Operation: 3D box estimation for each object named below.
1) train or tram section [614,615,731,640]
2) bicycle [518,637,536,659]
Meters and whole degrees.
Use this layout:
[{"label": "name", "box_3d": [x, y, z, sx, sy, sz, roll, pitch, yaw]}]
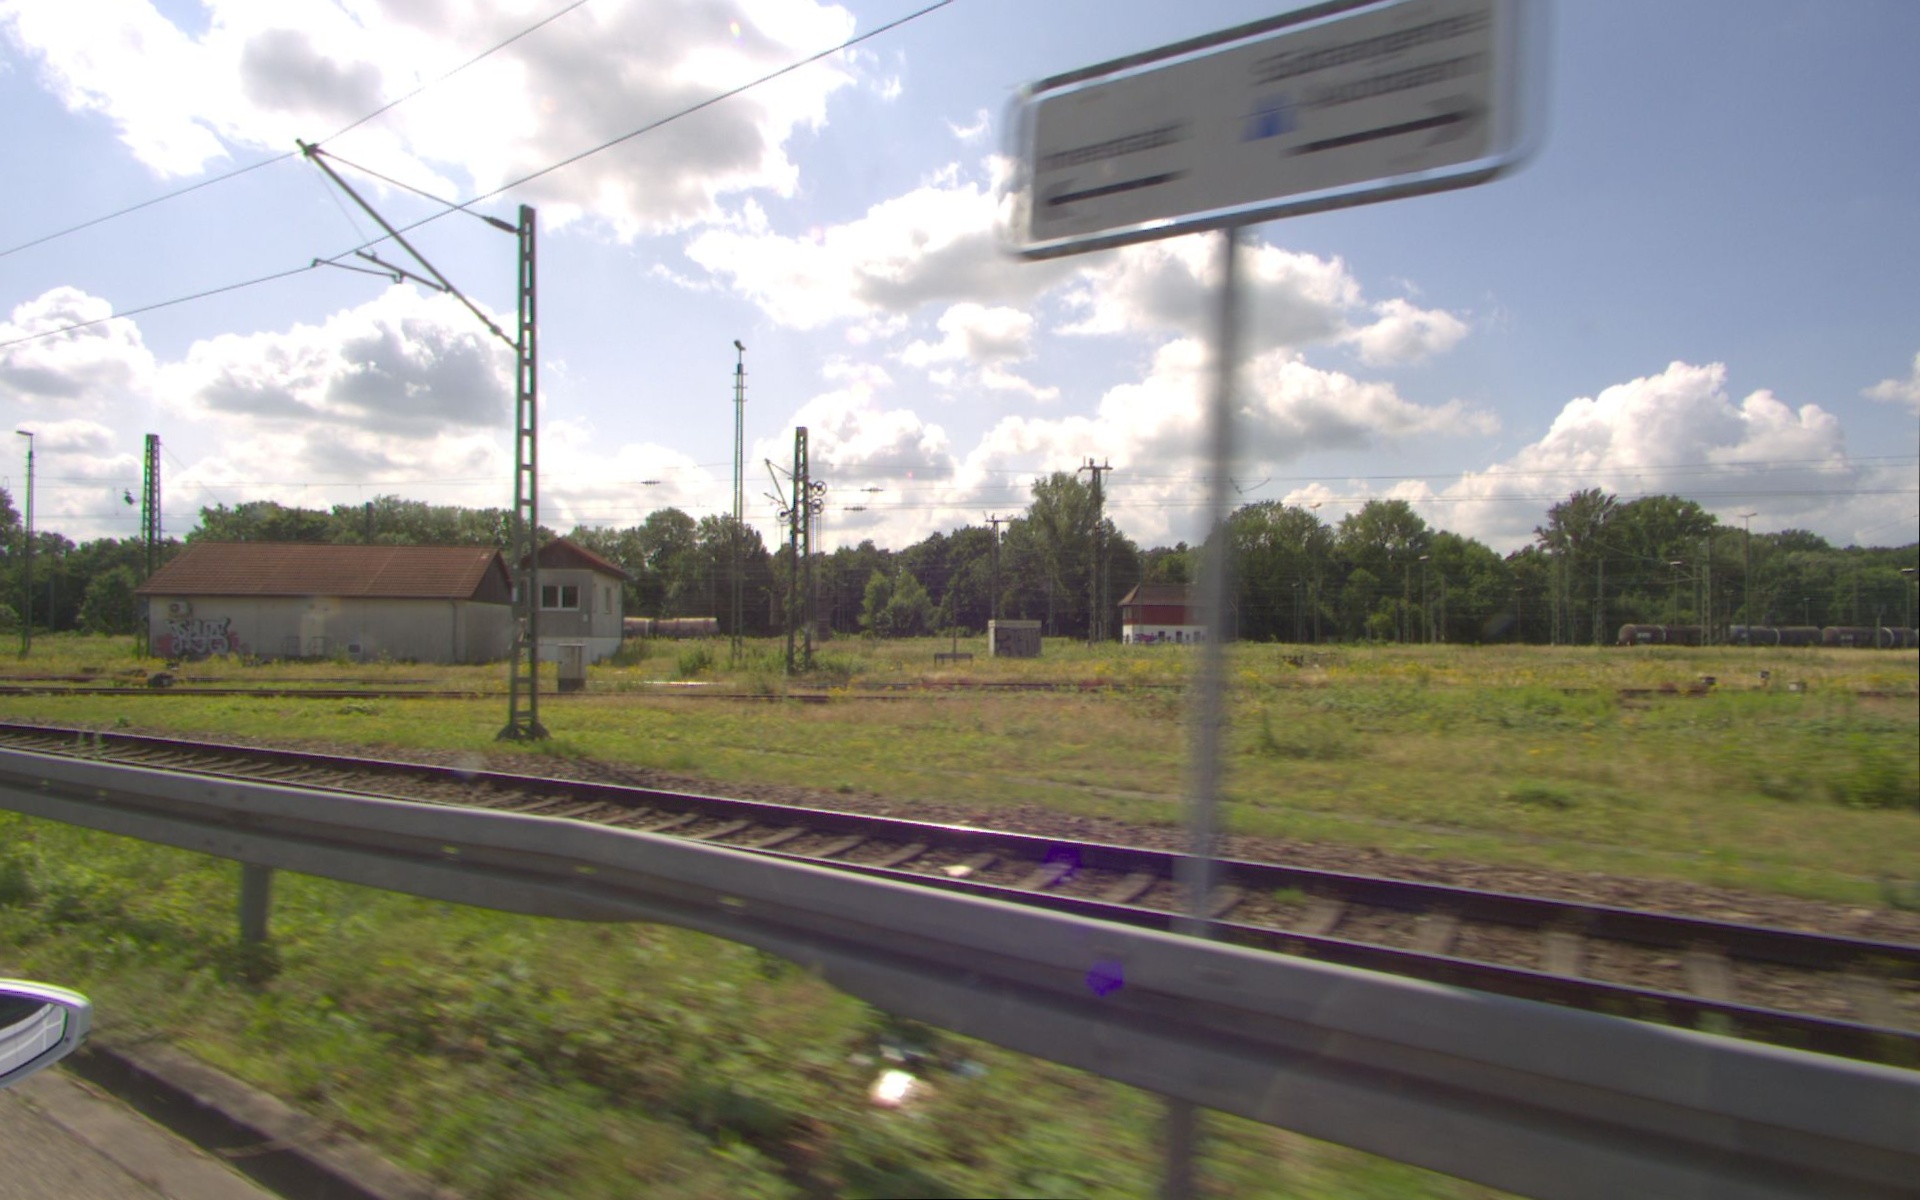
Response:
[{"label": "train or tram section", "box_3d": [-39.951, 3.787, 139.850, 15.464, 3.347, 3.033, 0, -1, -10]}, {"label": "bicycle", "box_3d": [-24.035, 2.640, 55.588, 0.405, 1.219, 1.874, 1, -2, -7]}]
